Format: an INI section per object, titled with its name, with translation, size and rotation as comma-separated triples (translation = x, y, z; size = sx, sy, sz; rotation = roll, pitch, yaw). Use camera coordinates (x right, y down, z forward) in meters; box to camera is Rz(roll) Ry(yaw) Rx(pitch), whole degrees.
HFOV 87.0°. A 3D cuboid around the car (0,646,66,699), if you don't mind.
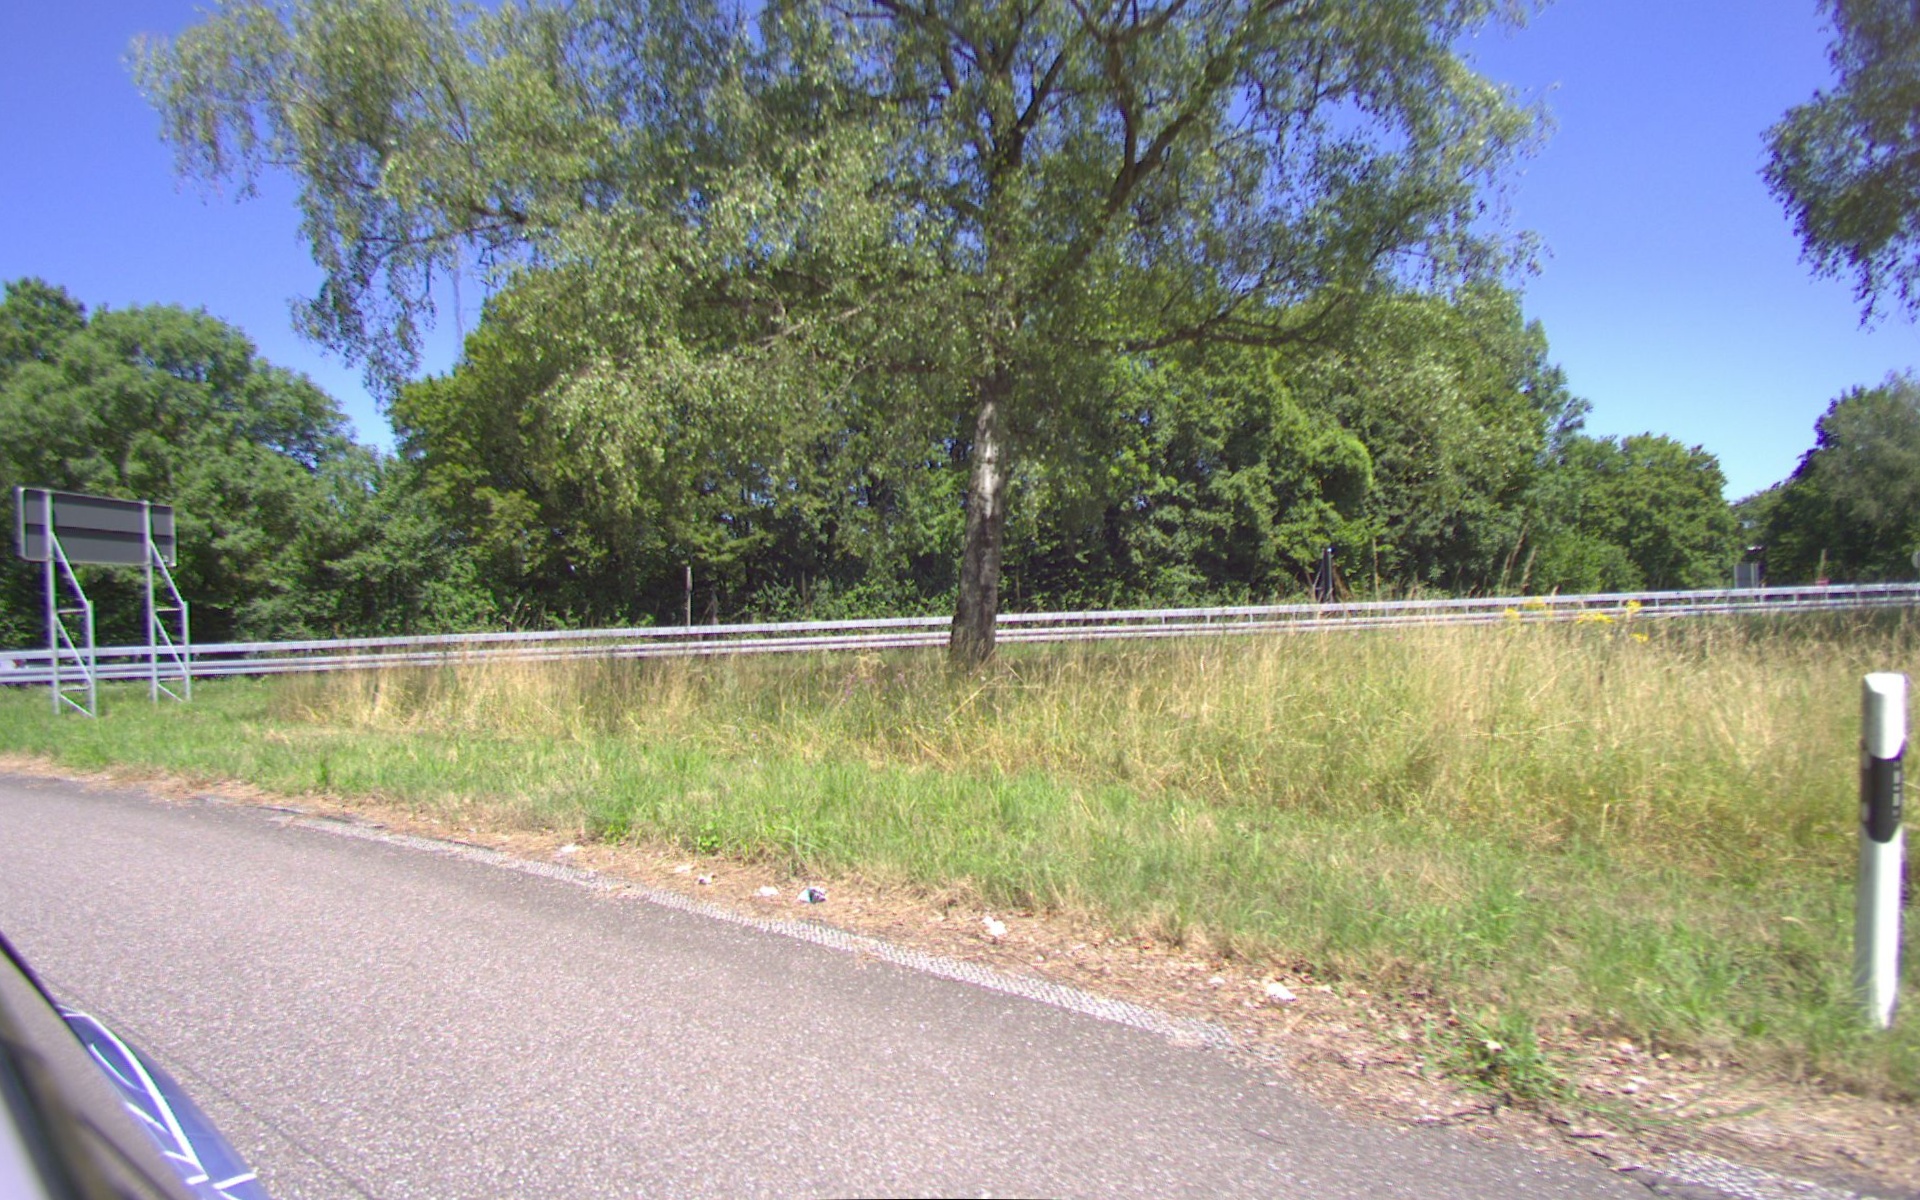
[car]
translation = -27.145, 2.062, 27.764
size = 3.789, 1.392, 1.447
rotation = -2, -3, -5
